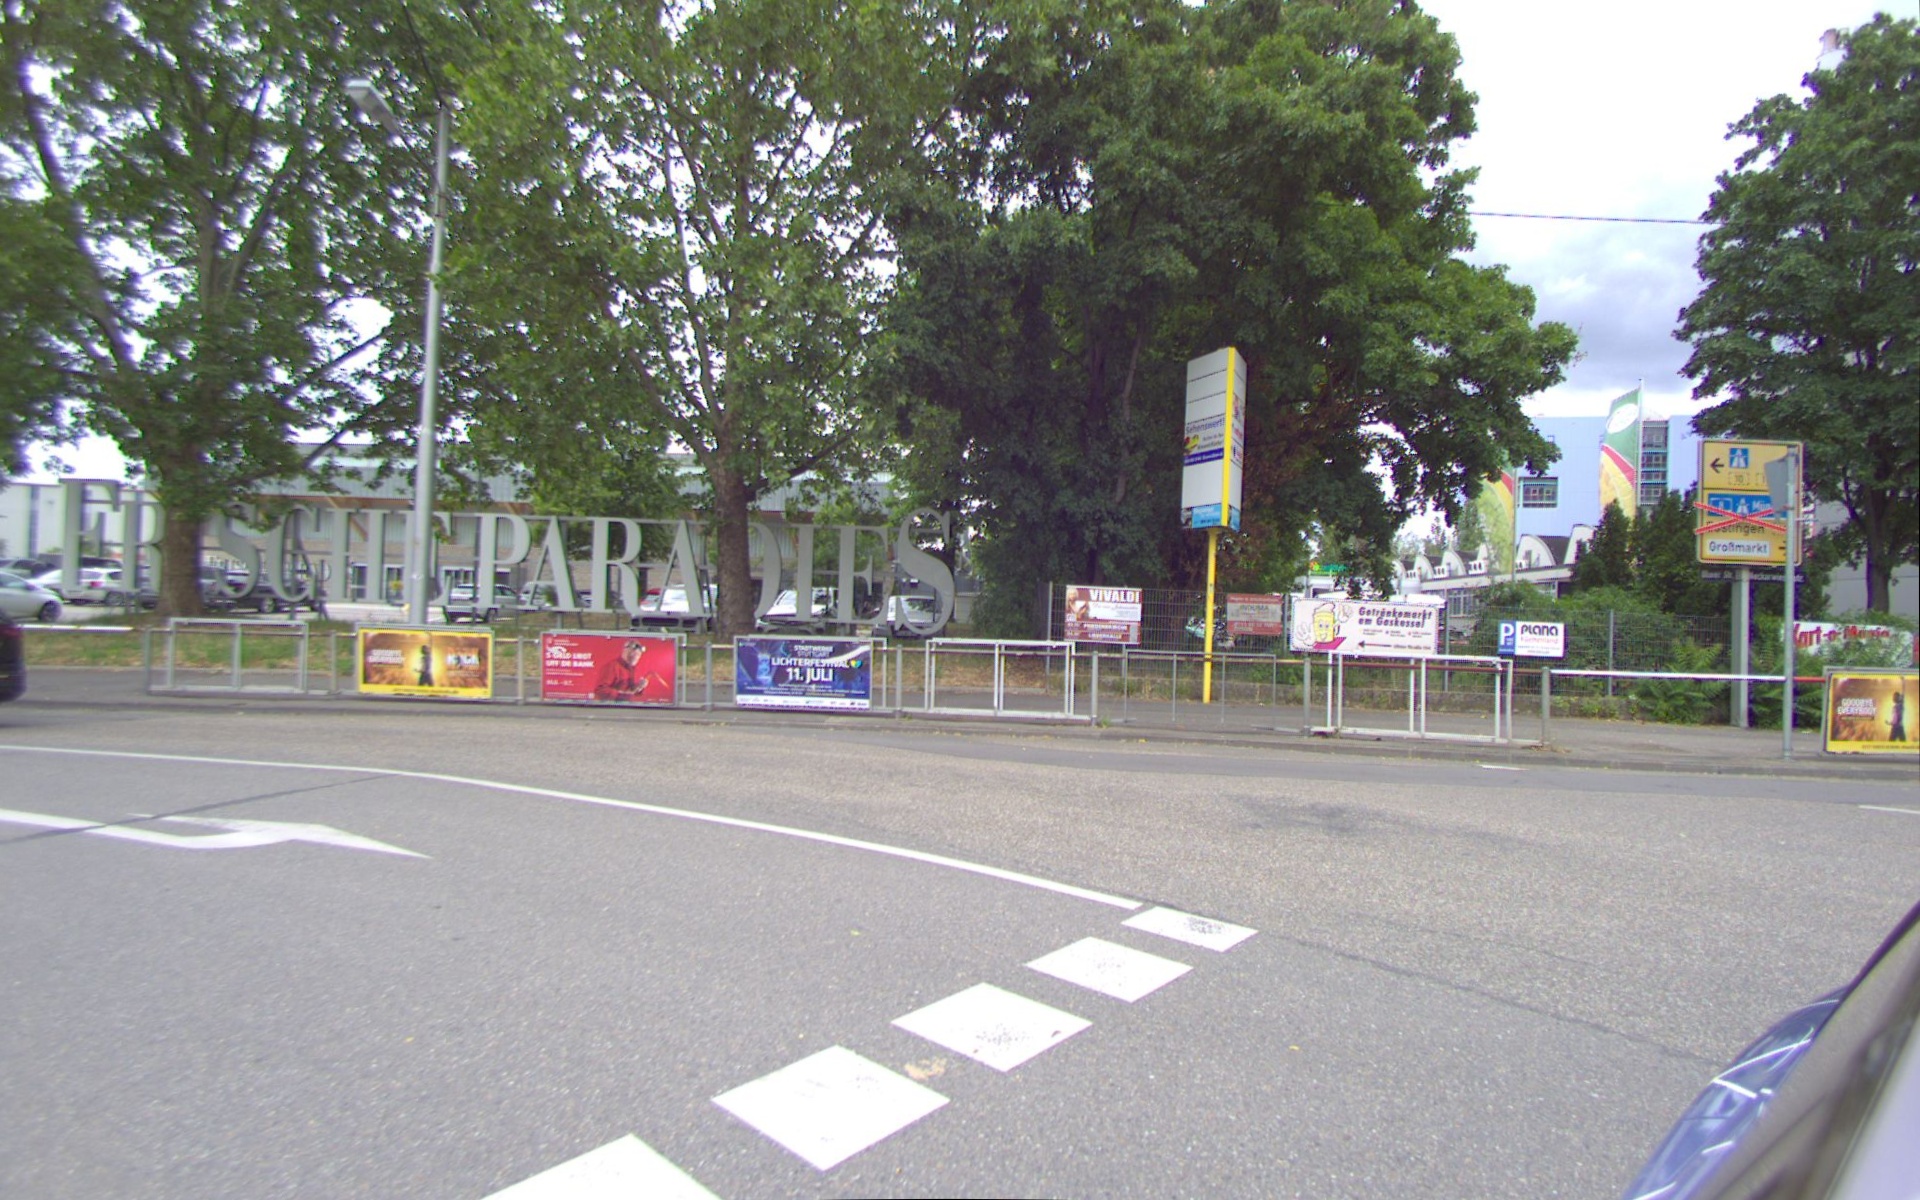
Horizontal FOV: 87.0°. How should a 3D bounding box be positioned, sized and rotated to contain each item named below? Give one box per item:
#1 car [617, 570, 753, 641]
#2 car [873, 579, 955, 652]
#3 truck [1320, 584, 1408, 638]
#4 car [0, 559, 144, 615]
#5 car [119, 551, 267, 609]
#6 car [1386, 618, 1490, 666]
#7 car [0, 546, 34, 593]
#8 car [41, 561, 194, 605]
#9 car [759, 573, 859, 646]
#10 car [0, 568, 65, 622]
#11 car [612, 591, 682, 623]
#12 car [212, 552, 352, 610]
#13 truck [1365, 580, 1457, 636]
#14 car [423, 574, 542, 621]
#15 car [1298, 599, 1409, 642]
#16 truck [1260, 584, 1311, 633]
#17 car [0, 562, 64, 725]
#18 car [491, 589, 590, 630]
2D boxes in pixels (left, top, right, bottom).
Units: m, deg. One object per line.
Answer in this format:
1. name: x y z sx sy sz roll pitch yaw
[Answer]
1. car: -7.009 0.182 26.341 1.852 1.633 4.516 2 -1 6
2. car: -1.080 0.393 25.420 1.563 1.633 3.994 2 -1 4
3. truck: 33.082 0.909 83.729 2.804 3.983 15.692 2 0 8
4. car: -35.805 -0.478 40.660 1.965 2.039 4.633 2 -1 5
5. car: -29.674 -0.724 39.373 1.965 2.039 4.633 2 -1 5
6. car: 14.337 1.231 30.567 1.680 1.264 3.694 2 0 6
7. car: -42.547 -1.378 42.832 1.965 2.039 4.816 2 -1 5
8. car: -33.358 -0.622 40.292 1.965 1.578 4.633 2 -1 5
9. car: -3.726 0.261 25.666 1.563 1.633 4.311 2 -1 4
10. car: -28.008 -0.159 28.929 1.454 1.524 3.728 2 -1 1
11. car: -16.720 0.391 54.274 1.965 1.581 4.633 2 -1 5
12. car: -25.981 -0.679 39.020 1.965 2.039 4.633 2 -1 5
13. truck: 36.917 0.686 83.641 2.826 4.076 15.804 2 0 9
14. car: -17.963 -0.068 38.343 1.965 1.581 4.633 2 -1 5
15. car: 28.294 1.467 73.039 7.040 2.767 2.237 2 -1 10
16. truck: 29.980 0.785 93.538 2.950 4.218 9.164 2 0 9
17. car: -11.814 0.388 10.163 4.111 1.657 1.846 1 -2 5
18. car: -17.749 0.421 43.078 1.965 1.581 4.633 2 -1 5
